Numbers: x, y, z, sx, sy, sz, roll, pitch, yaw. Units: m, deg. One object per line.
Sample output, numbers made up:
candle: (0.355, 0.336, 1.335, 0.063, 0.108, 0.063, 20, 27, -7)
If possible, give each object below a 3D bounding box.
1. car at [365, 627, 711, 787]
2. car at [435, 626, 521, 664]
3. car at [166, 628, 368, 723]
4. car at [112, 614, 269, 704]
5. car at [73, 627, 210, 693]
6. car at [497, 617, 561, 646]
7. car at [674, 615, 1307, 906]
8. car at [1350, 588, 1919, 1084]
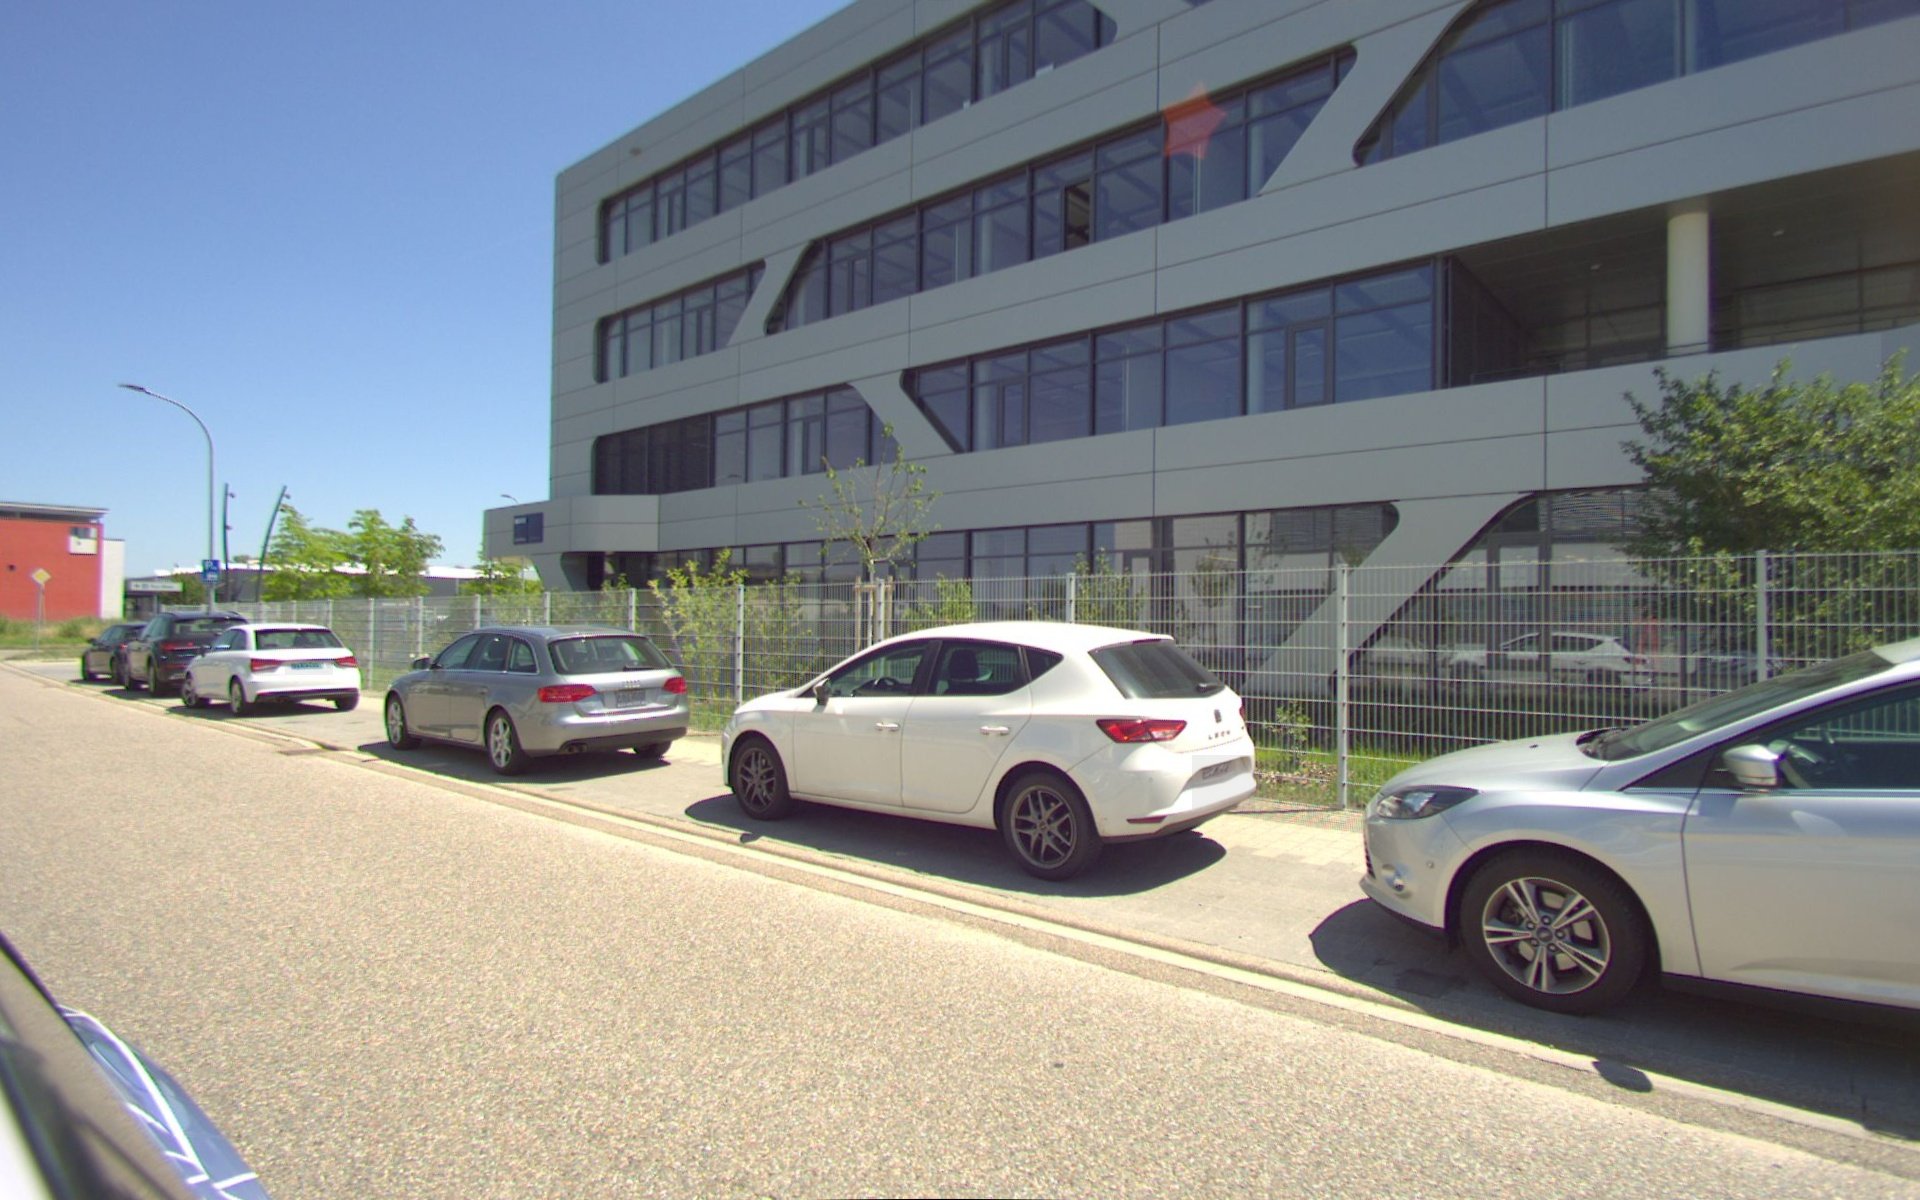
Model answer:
car: (-4.767, 1.012, 11.063, 4.637, 1.396, 1.666, -2, -2, 42)
car: (-20.358, 1.862, 42.682, 4.103, 1.523, 1.752, -1, -2, 41)
car: (-11.611, 1.181, 16.878, 3.932, 1.396, 1.683, -2, -2, 38)
car: (-15.999, 1.167, 20.948, 4.850, 1.664, 1.750, -2, -2, 43)
car: (-19.962, 1.407, 24.630, 4.181, 1.477, 1.752, -2, -2, 39)
car: (-23.651, 1.762, 55.458, 4.113, 1.487, 1.589, -3, -3, 41)
car: (-0.035, 0.853, 7.213, 4.436, 1.455, 1.686, -1, -1, 40)
car: (3.941, 0.729, 3.465, 4.568, 1.548, 1.686, -1, -1, 40)
